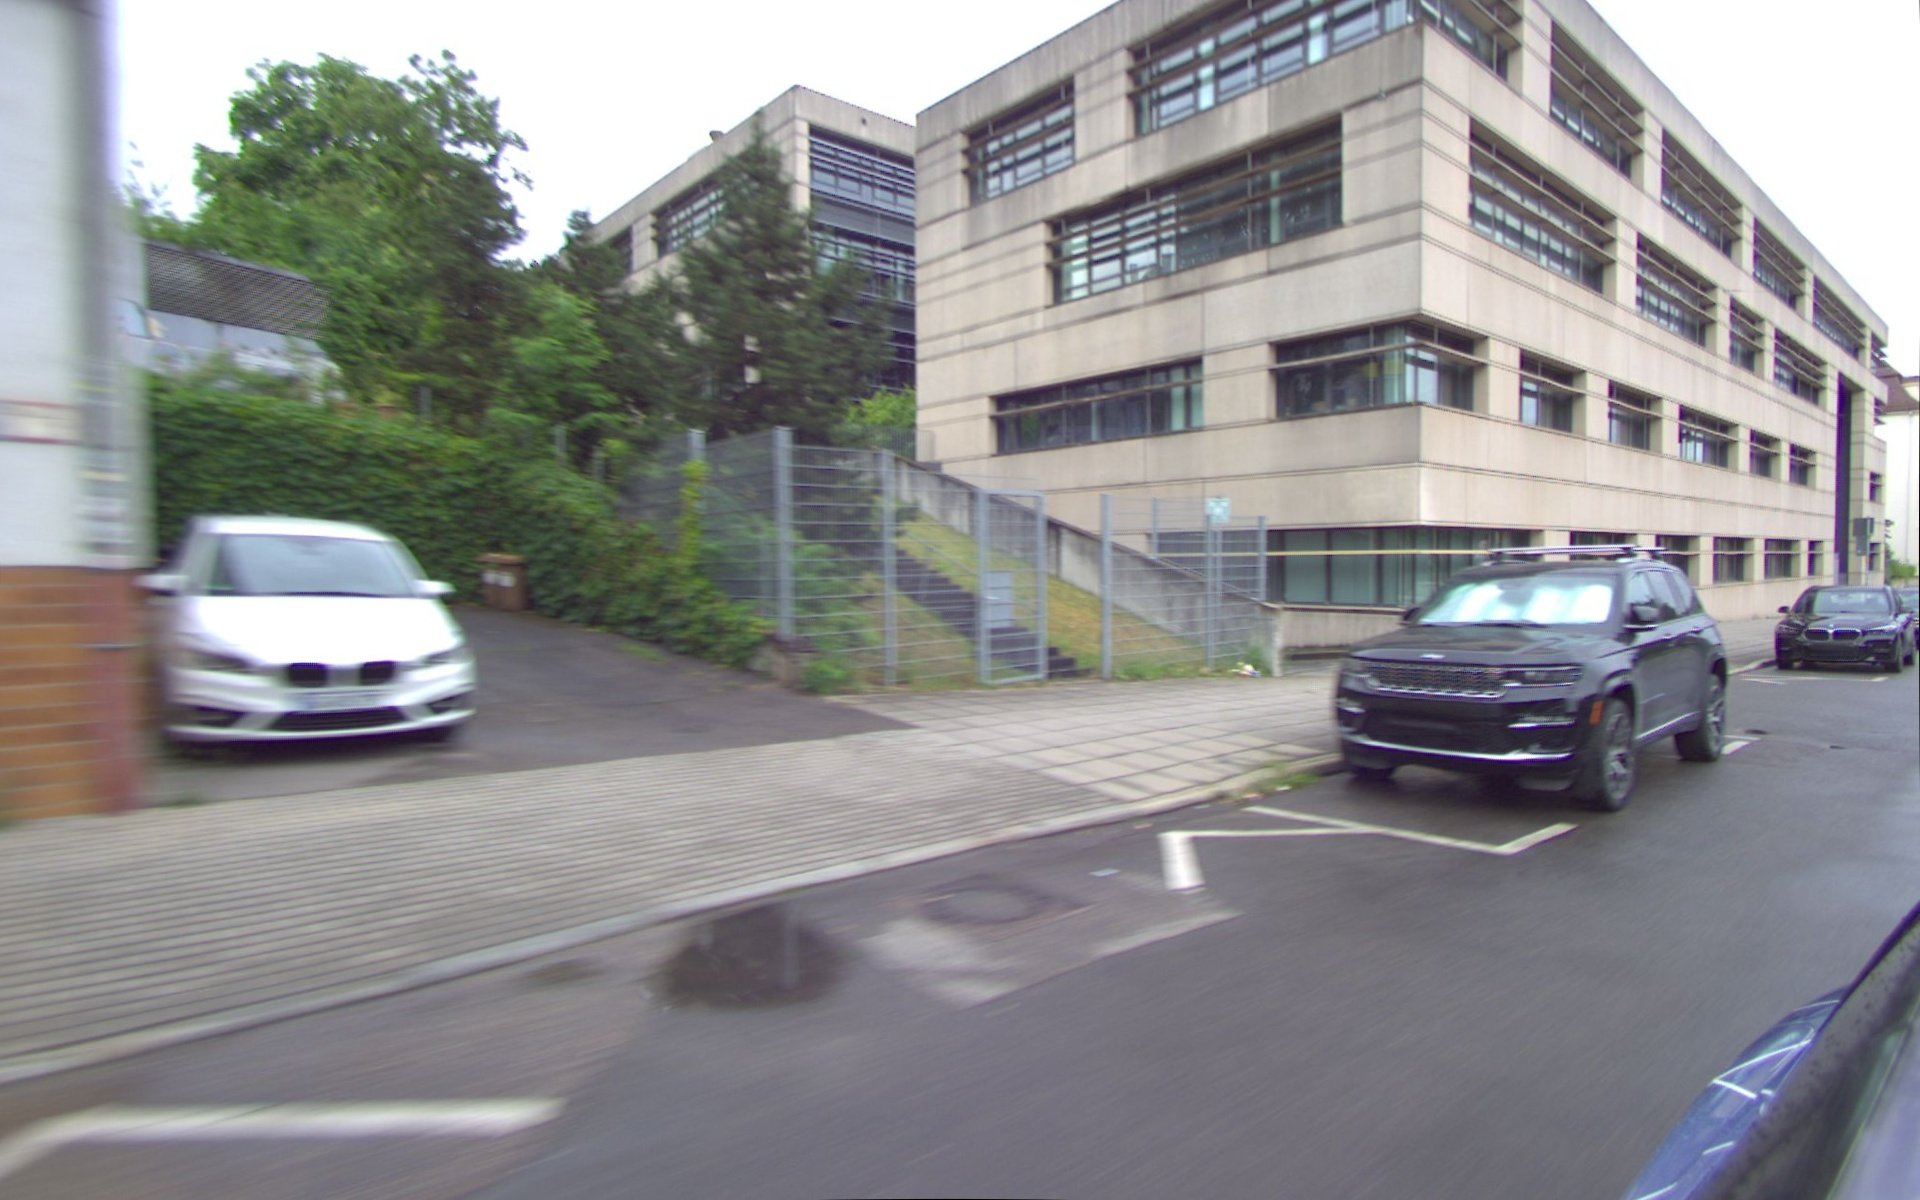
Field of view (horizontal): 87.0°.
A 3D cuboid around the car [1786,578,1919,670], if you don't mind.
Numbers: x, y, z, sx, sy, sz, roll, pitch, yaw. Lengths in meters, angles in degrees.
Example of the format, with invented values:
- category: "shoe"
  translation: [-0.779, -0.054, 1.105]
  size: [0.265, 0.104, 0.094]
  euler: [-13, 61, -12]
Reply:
- category: "car"
  translation: [17.585, 0.381, 19.705]
  size: [4.247, 1.552, 1.745]
  euler: [-2, 1, -43]

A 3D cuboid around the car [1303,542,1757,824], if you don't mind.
- category: "car"
  translation: [5.048, 0.446, 8.631]
  size: [4.714, 1.772, 1.938]
  euler: [-2, 2, -41]

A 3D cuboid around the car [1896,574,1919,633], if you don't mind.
- category: "car"
  translation: [29.371, 0.064, 30.205]
  size: [4.321, 1.624, 1.773]
  euler: [-2, 2, -43]

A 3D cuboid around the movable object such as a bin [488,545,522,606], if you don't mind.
- category: "movable object such as a bin"
  translation: [-7.594, -0.412, 16.898]
  size: [0.460, 0.995, 0.266]
  euler: [2, 4, 12]

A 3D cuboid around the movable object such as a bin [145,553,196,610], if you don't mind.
- category: "movable object such as a bin"
  translation: [-14.436, -0.350, 18.518]
  size: [0.643, 1.012, 0.456]
  euler: [3, 3, 17]

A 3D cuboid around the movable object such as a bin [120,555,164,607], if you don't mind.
- category: "movable object such as a bin"
  translation: [-15.124, -0.356, 18.712]
  size: [0.542, 0.942, 0.389]
  euler: [3, 2, 17]

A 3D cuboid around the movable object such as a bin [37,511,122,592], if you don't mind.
- category: "movable object such as a bin"
  translation: [-16.473, -0.913, 18.948]
  size: [0.880, 1.452, 0.893]
  euler: [3, 4, 23]

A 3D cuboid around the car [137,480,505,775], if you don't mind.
- category: "car"
  translation: [-5.374, -0.014, 8.221]
  size: [1.872, 1.733, 4.448]
  euler: [-2, 5, -41]

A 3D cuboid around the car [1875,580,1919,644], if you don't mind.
- category: "car"
  translation: [25.612, 0.268, 26.714]
  size: [3.989, 1.531, 1.727]
  euler: [-3, 1, -42]
